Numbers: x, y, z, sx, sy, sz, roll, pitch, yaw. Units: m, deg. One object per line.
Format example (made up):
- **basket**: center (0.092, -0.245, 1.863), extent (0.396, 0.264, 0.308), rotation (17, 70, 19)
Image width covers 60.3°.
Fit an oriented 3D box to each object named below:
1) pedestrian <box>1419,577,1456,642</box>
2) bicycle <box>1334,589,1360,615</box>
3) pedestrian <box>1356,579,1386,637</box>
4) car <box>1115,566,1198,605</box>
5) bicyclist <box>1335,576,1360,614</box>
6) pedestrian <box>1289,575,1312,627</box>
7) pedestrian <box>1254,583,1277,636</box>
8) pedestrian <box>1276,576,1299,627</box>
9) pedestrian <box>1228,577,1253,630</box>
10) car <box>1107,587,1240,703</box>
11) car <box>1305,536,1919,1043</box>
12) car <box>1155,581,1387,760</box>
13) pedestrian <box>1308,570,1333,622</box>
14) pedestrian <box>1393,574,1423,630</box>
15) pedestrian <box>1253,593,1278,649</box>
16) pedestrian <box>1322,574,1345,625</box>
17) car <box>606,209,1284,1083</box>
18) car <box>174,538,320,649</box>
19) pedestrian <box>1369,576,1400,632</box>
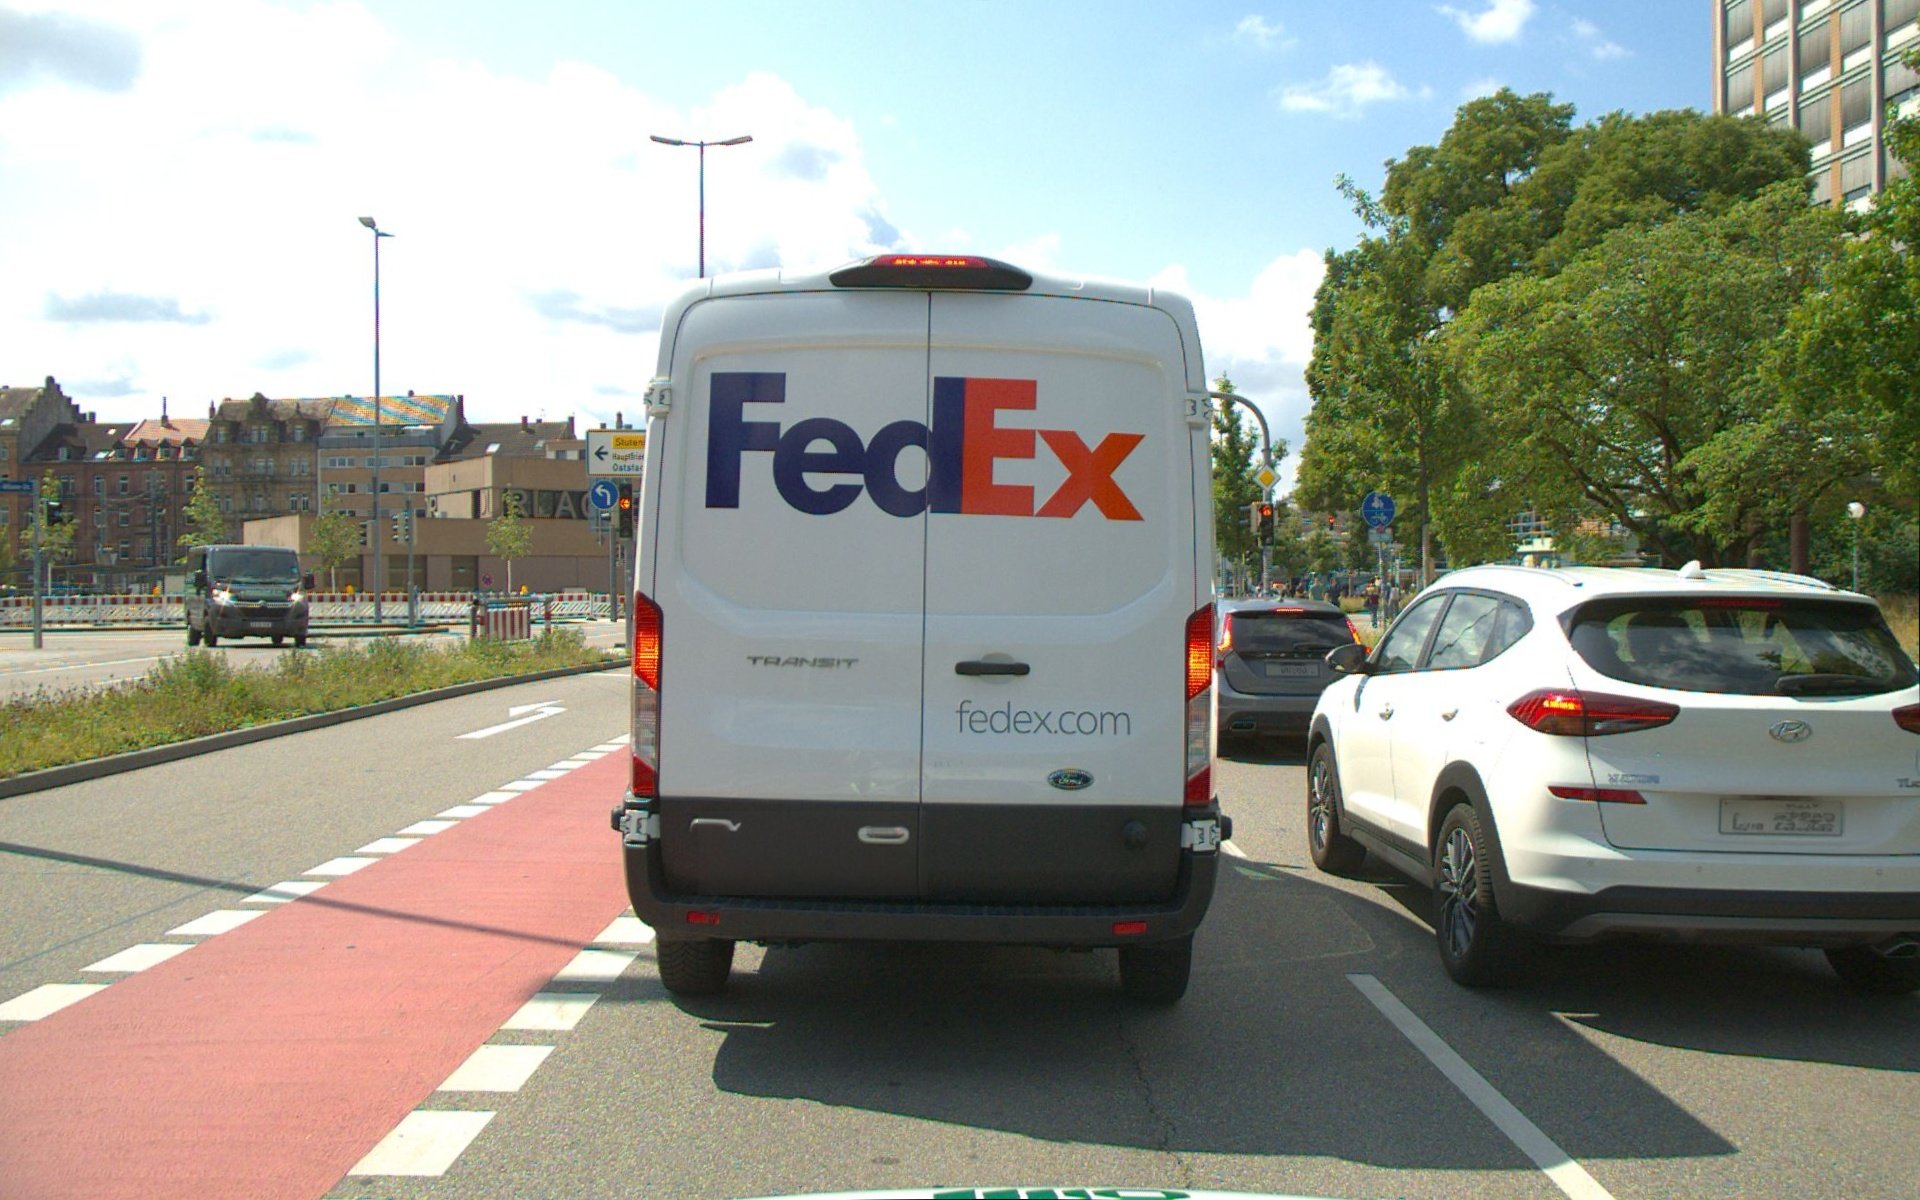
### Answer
- **pedestrian**: center (12.515, 0.241, 43.382), extent (0.743, 1.684, 0.816), rotation (0, 0, 3)
- **bicycle**: center (22.879, 0.112, 97.654), extent (1.395, 1.489, 4.314), rotation (0, 1, 14)
- **pedestrian**: center (13.523, 0.264, 54.452), extent (0.743, 1.882, 0.816), rotation (0, 0, -2)
- **car**: center (15.063, -1.085, 126.325), extent (7.029, 2.765, 2.456), rotation (1, -1, -44)
- **bicyclist**: center (22.857, -0.311, 97.565), extent (1.402, 2.209, 1.340), rotation (0, 0, 14)
- **pedestrian**: center (12.632, 0.034, 61.361), extent (0.743, 1.882, 0.816), rotation (0, 0, 3)
- **pedestrian**: center (10.941, 0.348, 59.192), extent (0.742, 1.882, 0.817), rotation (0, 0, 14)
- **pedestrian**: center (11.998, 0.047, 60.544), extent (0.743, 1.882, 0.816), rotation (0, 0, 18)
- **pedestrian**: center (10.198, 0.122, 60.148), extent (0.796, 1.882, 0.761), rotation (0, 0, 2)
- **car**: center (2.945, 0.577, 23.359), extent (1.468, 1.489, 3.474), rotation (0, 1, 1)
- **car**: center (2.862, 0.618, 7.586), extent (1.777, 1.708, 3.974), rotation (0, 1, 1)
- **car**: center (2.976, 0.603, 16.516), extent (1.656, 1.576, 3.721), rotation (0, 1, 1)
- **pedestrian**: center (13.149, -0.165, 60.351), extent (0.743, 1.882, 0.816), rotation (0, 0, 1)
- **pedestrian**: center (15.317, 0.053, 56.572), extent (0.745, 1.882, 0.814), rotation (0, 0, -9)
- **pedestrian**: center (10.506, 0.713, 56.832), extent (0.743, 1.882, 0.816), rotation (0, 0, 18)
- **pedestrian**: center (13.342, -0.025, 59.119), extent (0.742, 1.820, 0.817), rotation (0, 0, 7)
- **car**: center (-0.016, 0.116, 7.207), extent (2.030, 2.626, 4.428), rotation (0, 1, 1)
- **car**: center (-15.784, -0.132, 36.467), extent (2.128, 2.213, 4.961), rotation (-3, 1, -33)
- **pedestrian**: center (14.473, 0.132, 56.379), extent (0.745, 1.882, 0.814), rotation (-1, 0, -11)
